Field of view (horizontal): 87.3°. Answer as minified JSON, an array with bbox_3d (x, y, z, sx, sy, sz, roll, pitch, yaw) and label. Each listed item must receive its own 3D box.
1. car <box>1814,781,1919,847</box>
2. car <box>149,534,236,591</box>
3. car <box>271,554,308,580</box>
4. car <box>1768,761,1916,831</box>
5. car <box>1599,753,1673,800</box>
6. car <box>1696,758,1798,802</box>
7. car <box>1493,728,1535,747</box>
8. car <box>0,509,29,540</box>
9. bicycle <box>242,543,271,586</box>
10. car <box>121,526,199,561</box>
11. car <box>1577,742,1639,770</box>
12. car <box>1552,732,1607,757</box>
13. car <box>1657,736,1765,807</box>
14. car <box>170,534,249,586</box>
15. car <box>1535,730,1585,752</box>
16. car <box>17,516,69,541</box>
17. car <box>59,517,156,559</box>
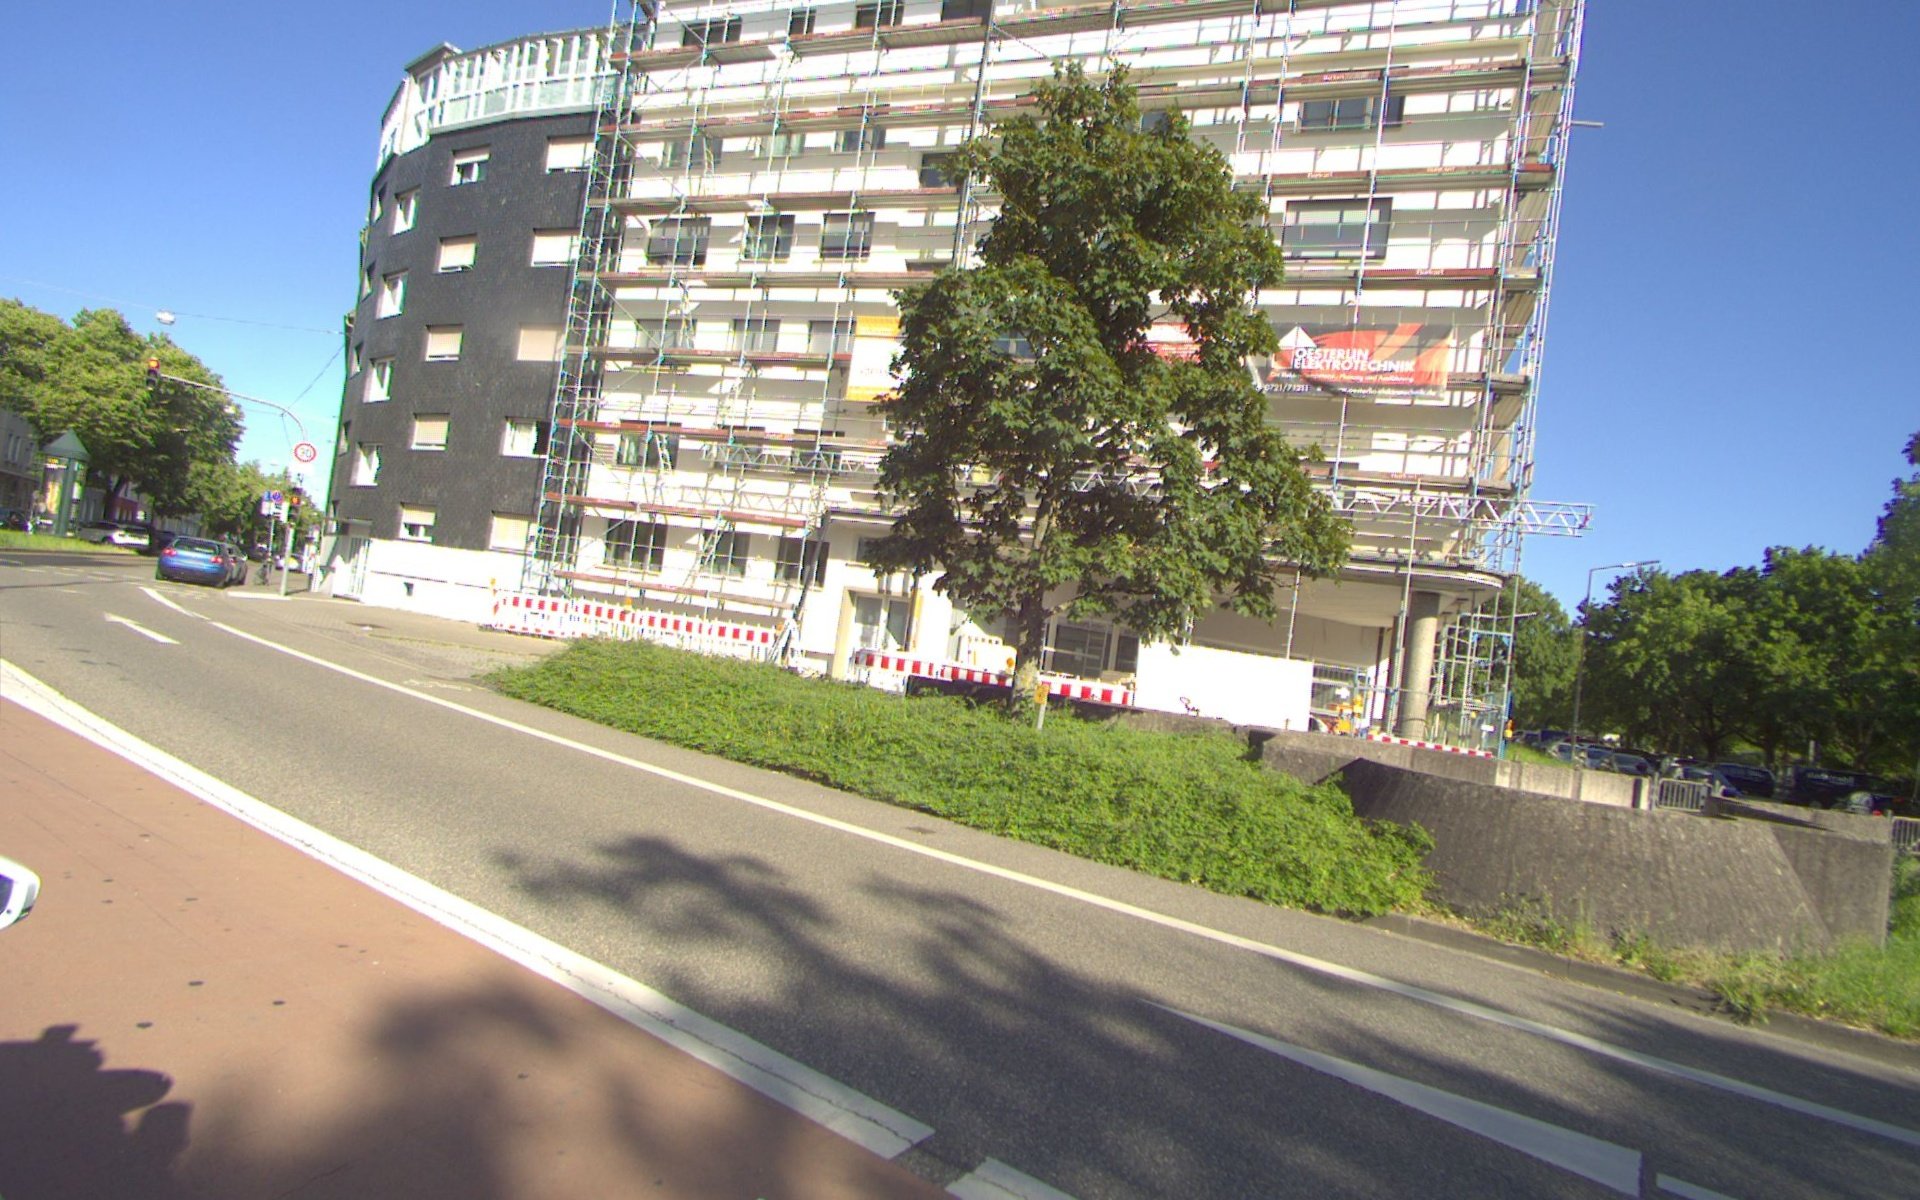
[{"bbox_3d":[29.068,6.771,31.928,1.648,1.519,3.567,7,-3,19],"label":"car"},{"bbox_3d":[-24.640,-1.205,32.393,1.765,1.458,3.588,10,-3,-33],"label":"car"},{"bbox_3d":[-53.666,-2.588,80.578,1.981,1.634,3.972,10,-5,-30],"label":"car"},{"bbox_3d":[37.985,8.416,43.496,4.275,2.096,2.000,7,-3,27],"label":"car"},{"bbox_3d":[30.371,7.887,45.317,1.964,1.679,4.006,6,-5,24],"label":"car"},{"bbox_3d":[43.131,9.850,55.243,3.929,1.673,2.002,6,-4,25],"label":"car"},{"bbox_3d":[64.279,15.958,116.716,3.926,1.673,2.003,6,-4,22],"label":"car"},{"bbox_3d":[-52.916,-4.273,54.945,1.979,1.489,3.972,9,-3,-29],"label":"car"},{"bbox_3d":[-27.039,-1.355,38.709,0.569,1.528,2.785,9,-3,-32],"label":"bicycle"},{"bbox_3d":[-57.429,-4.044,72.292,3.766,1.805,1.834,9,-3,-19],"label":"car"},{"bbox_3d":[54.267,13.075,84.317,3.926,1.673,2.003,6,-4,22],"label":"car"},{"bbox_3d":[57.669,13.475,93.783,3.926,1.673,2.003,6,-4,22],"label":"car"},{"bbox_3d":[27.042,6.124,36.370,1.963,2.035,4.004,7,-3,22],"label":"car"},{"bbox_3d":[-27.194,-1.463,36.568,1.808,1.525,3.967,9,-2,-32],"label":"car"},{"bbox_3d":[61.572,14.440,103.296,3.926,1.673,2.003,6,-4,22],"label":"car"},{"bbox_3d":[-66.912,-5.191,73.474,1.981,1.410,3.968,10,-3,-32],"label":"car"},{"bbox_3d":[-47.081,-3.440,55.607,3.924,1.611,1.914,8,-2,11],"label":"car"}]
